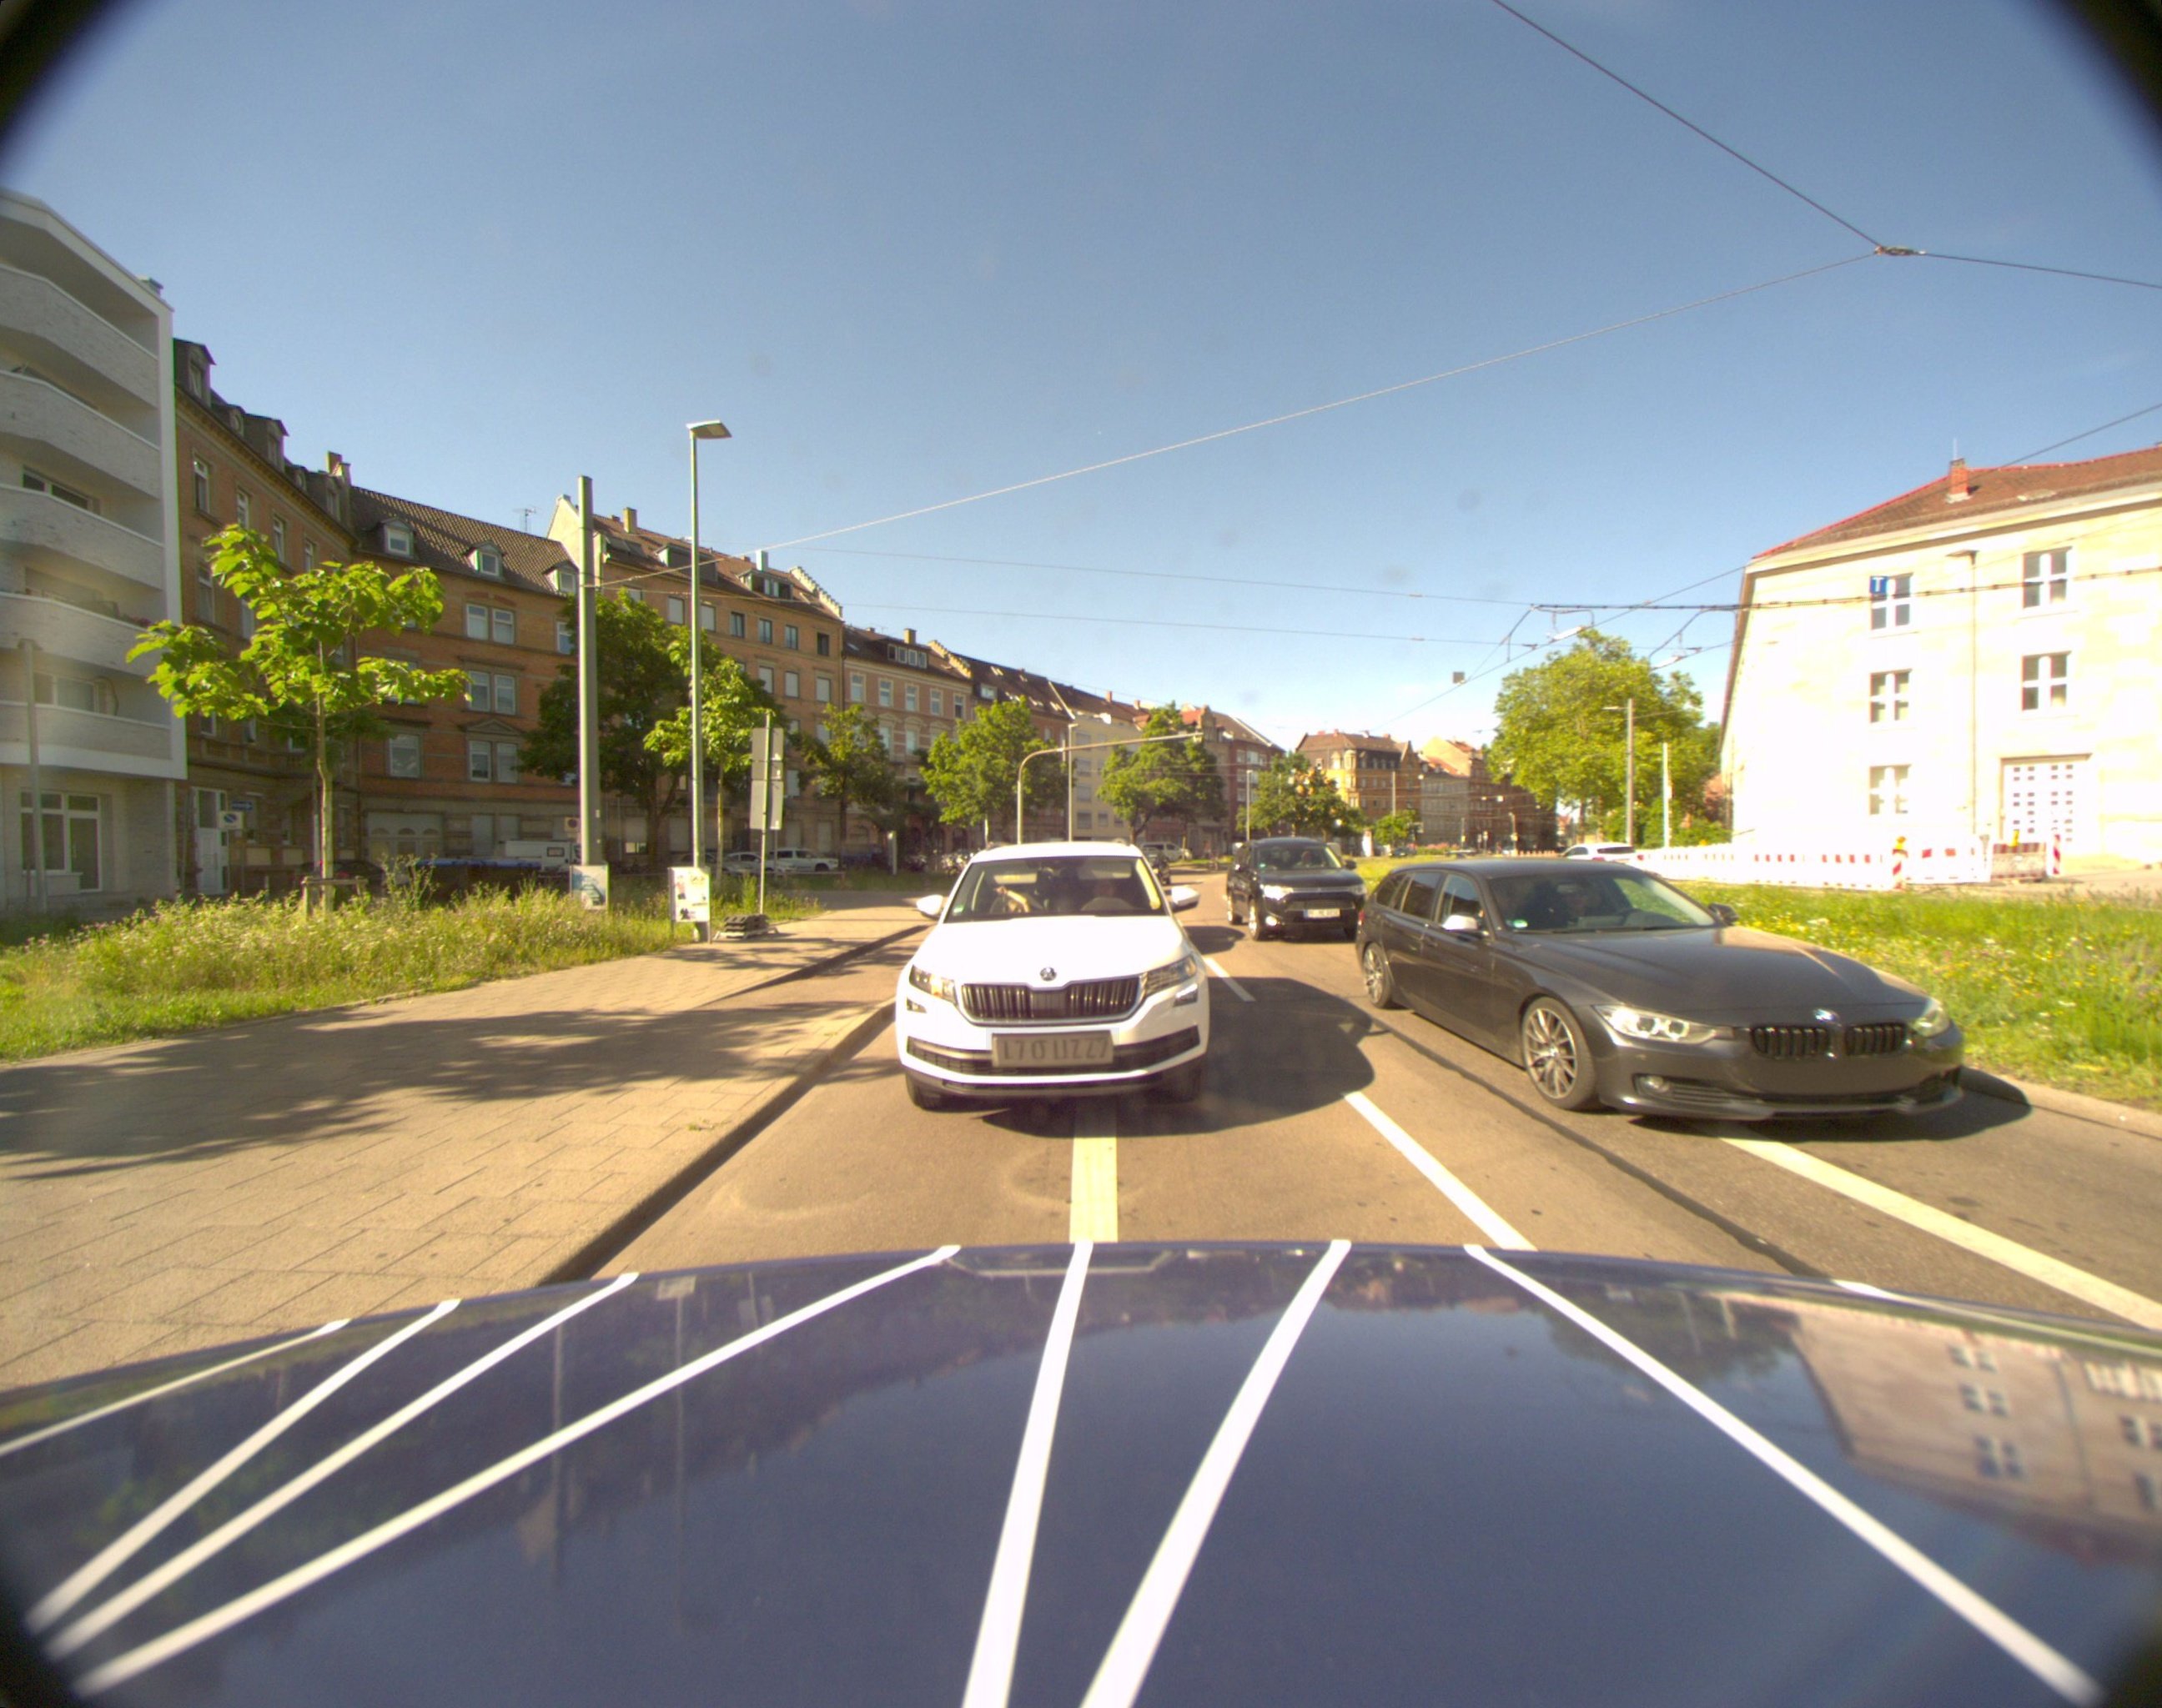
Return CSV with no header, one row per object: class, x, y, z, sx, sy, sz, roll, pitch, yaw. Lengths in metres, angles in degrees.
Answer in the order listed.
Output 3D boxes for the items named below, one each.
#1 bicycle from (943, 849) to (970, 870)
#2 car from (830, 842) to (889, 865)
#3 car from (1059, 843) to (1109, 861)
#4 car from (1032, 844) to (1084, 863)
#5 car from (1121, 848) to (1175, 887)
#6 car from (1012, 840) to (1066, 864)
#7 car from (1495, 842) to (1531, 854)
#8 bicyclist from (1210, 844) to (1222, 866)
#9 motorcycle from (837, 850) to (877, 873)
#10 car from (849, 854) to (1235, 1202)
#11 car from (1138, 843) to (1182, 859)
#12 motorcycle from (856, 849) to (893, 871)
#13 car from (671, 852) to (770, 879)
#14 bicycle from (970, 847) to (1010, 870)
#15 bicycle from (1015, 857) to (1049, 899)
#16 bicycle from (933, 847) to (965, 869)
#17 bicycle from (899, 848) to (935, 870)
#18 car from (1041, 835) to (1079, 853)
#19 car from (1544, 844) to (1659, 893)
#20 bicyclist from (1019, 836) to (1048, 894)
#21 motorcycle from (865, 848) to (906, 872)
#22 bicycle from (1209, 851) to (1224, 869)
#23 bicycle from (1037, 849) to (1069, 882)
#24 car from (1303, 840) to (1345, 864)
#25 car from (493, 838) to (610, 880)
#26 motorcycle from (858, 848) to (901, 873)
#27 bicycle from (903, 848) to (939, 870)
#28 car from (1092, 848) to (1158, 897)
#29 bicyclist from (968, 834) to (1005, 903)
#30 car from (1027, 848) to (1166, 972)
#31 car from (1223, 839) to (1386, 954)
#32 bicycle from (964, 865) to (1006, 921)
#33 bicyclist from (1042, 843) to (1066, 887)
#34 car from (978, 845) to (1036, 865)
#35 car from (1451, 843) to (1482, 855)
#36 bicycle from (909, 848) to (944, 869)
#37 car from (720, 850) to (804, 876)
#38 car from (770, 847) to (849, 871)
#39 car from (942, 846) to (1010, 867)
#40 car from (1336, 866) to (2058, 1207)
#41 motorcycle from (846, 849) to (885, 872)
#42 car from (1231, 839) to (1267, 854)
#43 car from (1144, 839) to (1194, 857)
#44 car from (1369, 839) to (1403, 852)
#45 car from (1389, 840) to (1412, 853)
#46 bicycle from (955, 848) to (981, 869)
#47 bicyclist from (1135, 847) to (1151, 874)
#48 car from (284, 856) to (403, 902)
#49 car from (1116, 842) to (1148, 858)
bicycle,-7.680,0.335,46.755,0.664,1.260,2.199,-3,1,-36
car,-15.605,-0.063,53.666,1.547,1.578,3.709,1,2,41
car,0.266,-0.166,61.159,3.823,1.398,1.600,0,1,6
car,-1.770,-0.060,58.707,3.823,1.398,1.600,0,1,6
car,3.128,0.553,34.861,1.837,1.637,4.152,0,1,14
car,-3.102,-0.143,56.099,3.825,1.698,1.682,0,1,3
car,60.246,-0.814,105.984,1.770,1.647,4.058,-1,2,-41
bicyclist,10.288,0.057,58.003,0.734,1.685,0.973,0,1,22
motorcycle,-13.284,0.433,45.015,2.314,1.270,0.664,-2,1,24
car,-0.225,0.854,5.944,1.842,1.636,4.397,-2,0,-1
car,7.132,-0.255,68.173,3.823,1.372,1.600,0,1,9
motorcycle,-12.597,0.396,46.400,2.199,1.260,0.664,-2,1,24
car,-17.495,0.529,36.902,4.156,1.244,1.683,0,1,13
bicycle,-5.471,0.262,45.734,2.207,1.260,0.662,-3,1,-25
bicycle,-1.602,0.764,25.087,0.758,1.293,2.155,-1,1,6
bicycle,-7.724,0.235,44.513,0.664,1.260,2.198,-3,1,-45
bicycle,-9.737,0.301,45.066,2.198,1.260,0.664,-2,1,30
car,-1.933,-0.950,71.660,1.547,1.578,3.607,1,2,41
car,18.918,0.502,27.855,1.823,1.636,4.184,-1,0,9
bicyclist,-1.563,0.359,25.051,0.809,1.855,0.749,-1,2,6
motorcycle,-11.143,0.352,43.289,2.200,1.315,0.664,-2,1,18
bicycle,10.380,0.445,58.123,0.735,1.353,2.078,0,1,21
bicycle,-1.028,0.404,28.784,0.637,1.190,2.156,-1,1,13
car,22.048,-0.181,68.894,1.977,2.074,4.723,1,2,41
car,-27.113,0.211,39.006,2.047,2.026,4.510,1,2,41
motorcycle,-11.173,0.369,42.202,2.200,1.322,0.663,-2,1,13
bicycle,-9.701,0.289,46.004,2.198,1.260,0.664,-2,1,32
car,1.647,0.596,26.952,1.838,1.543,4.151,0,1,10
bicyclist,-2.410,0.365,19.434,0.715,1.715,1.094,1,1,5
car,0.238,0.761,12.603,1.842,1.636,4.397,-2,0,1
car,3.701,0.625,13.393,1.841,1.636,4.399,-2,0,5
bicycle,-2.429,0.950,19.317,0.716,1.319,1.749,1,0,4
bicyclist,-1.021,0.402,28.849,0.630,1.619,0.972,-1,1,13
car,-5.221,0.081,53.960,3.822,1.398,1.683,0,1,9
car,58.265,-0.765,114.862,4.058,1.647,1.770,1,2,34
bicycle,-9.505,0.274,46.707,2.198,1.260,0.664,-2,1,32
car,-16.402,0.435,39.101,3.696,1.244,1.683,0,1,13
car,-14.676,0.251,41.190,3.700,1.244,1.540,0,1,2
car,-7.037,0.169,51.290,4.322,1.398,1.682,0,1,3
car,3.481,0.849,5.589,1.741,1.359,4.426,-2,0,1
motorcycle,-12.935,0.410,45.620,2.314,1.276,0.664,-2,1,24
car,18.702,-0.828,84.652,3.823,1.581,1.600,0,1,6
car,8.204,-0.596,70.603,4.578,1.658,1.600,0,1,7
car,48.048,-1.262,119.599,4.578,1.864,2.004,-2,1,33
car,37.267,-0.839,88.590,1.836,1.464,4.722,1,1,31
bicycle,-7.117,0.303,47.749,0.664,1.260,2.199,-3,1,-36
bicyclist,3.654,0.379,44.792,0.667,1.619,0.973,0,1,25
car,-26.164,0.824,27.144,1.835,1.419,4.378,-1,1,-27
car,5.476,-0.430,80.722,1.547,1.578,3.607,1,2,41
